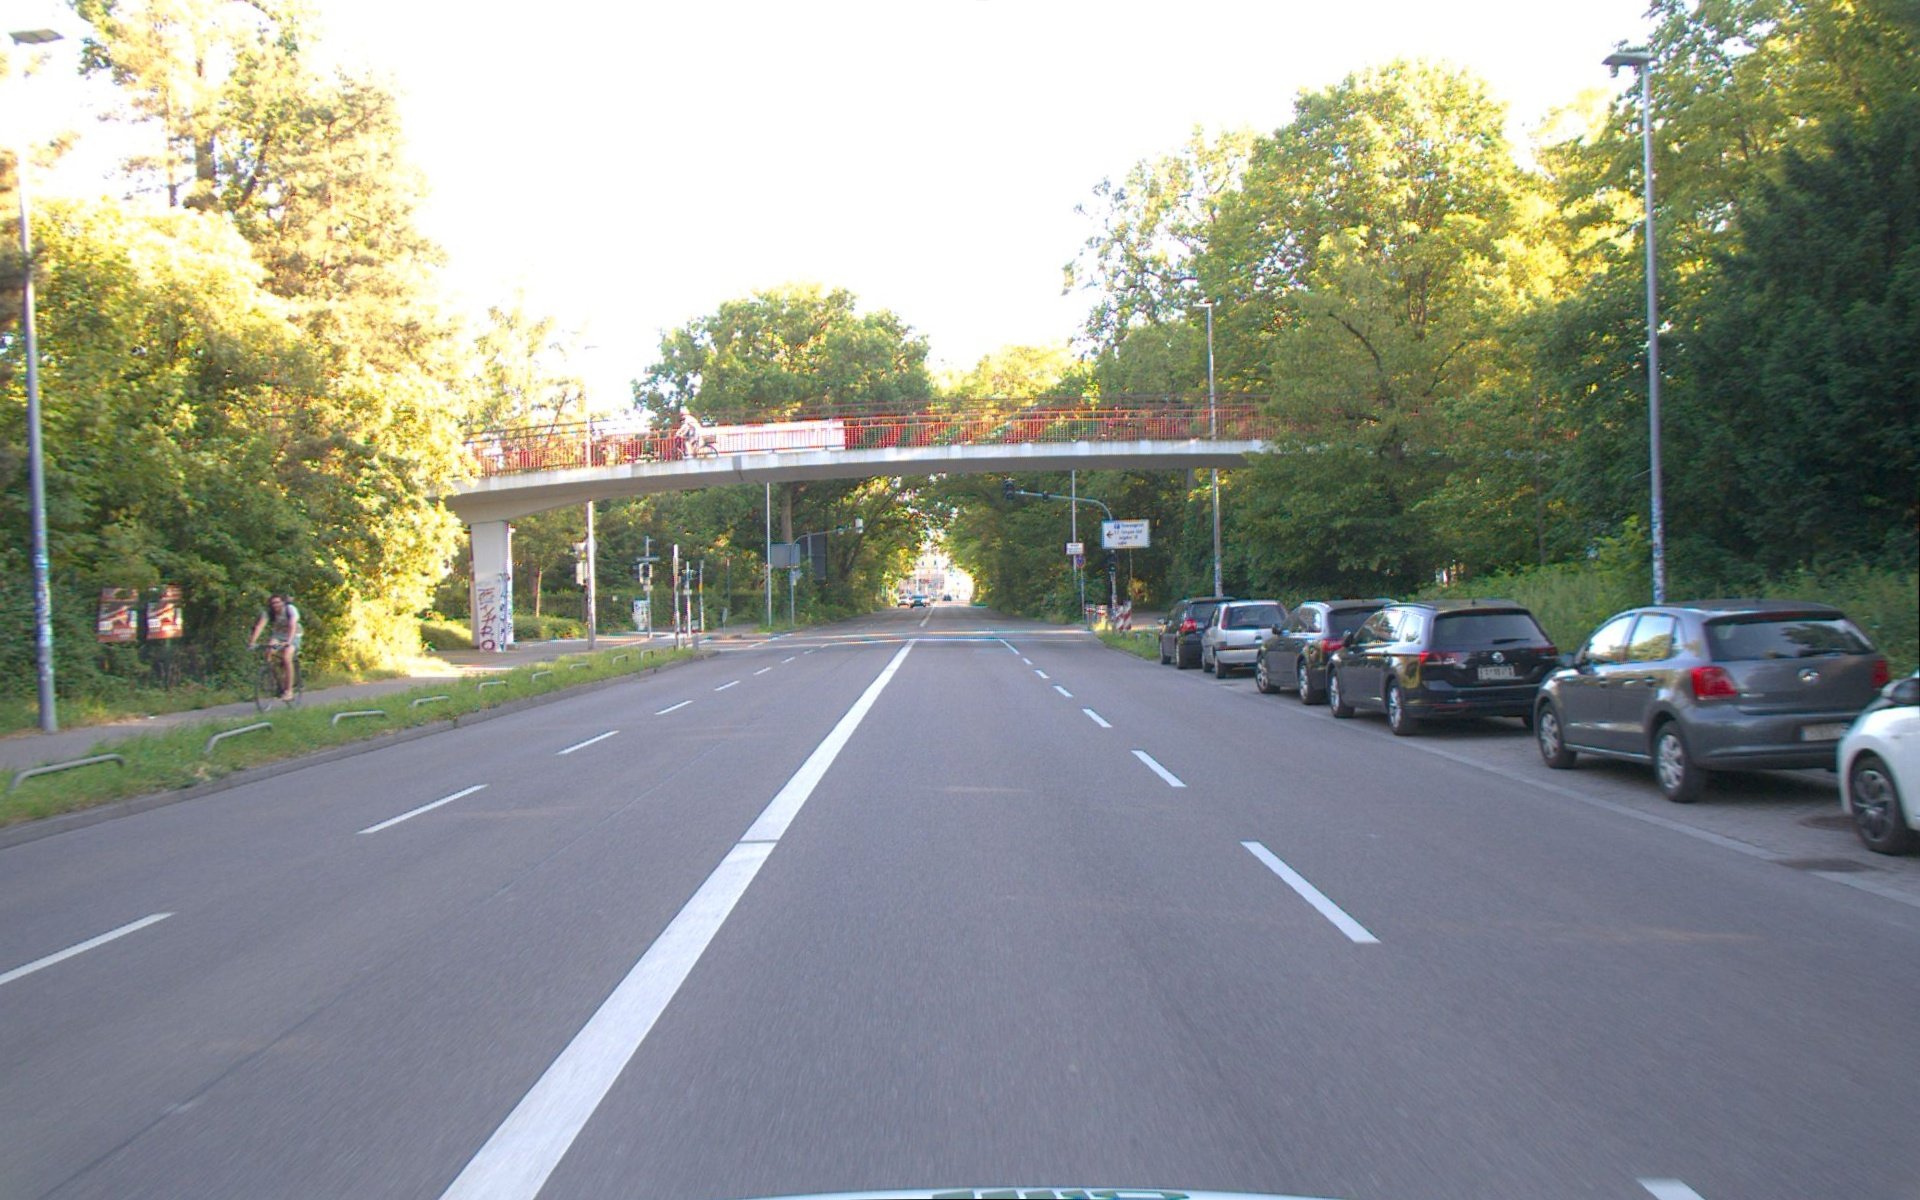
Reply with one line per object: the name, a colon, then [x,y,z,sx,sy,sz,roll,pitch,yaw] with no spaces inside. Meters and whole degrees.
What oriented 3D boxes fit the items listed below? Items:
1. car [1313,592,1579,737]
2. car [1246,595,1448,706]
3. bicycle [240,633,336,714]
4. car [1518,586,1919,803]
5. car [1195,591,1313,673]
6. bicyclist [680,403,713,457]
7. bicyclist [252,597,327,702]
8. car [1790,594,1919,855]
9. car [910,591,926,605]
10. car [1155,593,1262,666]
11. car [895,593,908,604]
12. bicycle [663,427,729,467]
car: [5.709,0.690,20.088,1.604,1.479,4.896,-2,0,-2]
car: [5.824,0.706,25.524,1.739,1.479,5.036,-2,0,-2]
bicycle: [-10.338,1.111,25.512,0.697,1.167,1.993,0,-1,-1]
car: [6.098,0.674,13.730,1.553,1.479,3.943,-2,0,0]
car: [5.803,0.601,33.015,1.737,1.479,4.015,-2,0,2]
bicyclist: [-8.180,-5.269,51.366,0.951,1.614,0.714,0,-1,-2]
bicyclist: [-10.335,0.752,25.516,0.697,1.586,1.142,0,-1,-1]
car: [6.277,0.703,9.051,1.553,1.479,3.798,-2,0,1]
car: [-4.945,-0.268,195.520,1.849,1.533,4.363,-2,0,-2]
car: [5.553,0.624,37.421,1.738,1.479,4.387,-2,0,0]
car: [-8.219,-0.210,232.332,1.761,1.533,4.363,-2,0,-2]
bicycle: [-8.192,-4.741,51.353,1.947,1.167,0.714,0,-1,-3]
